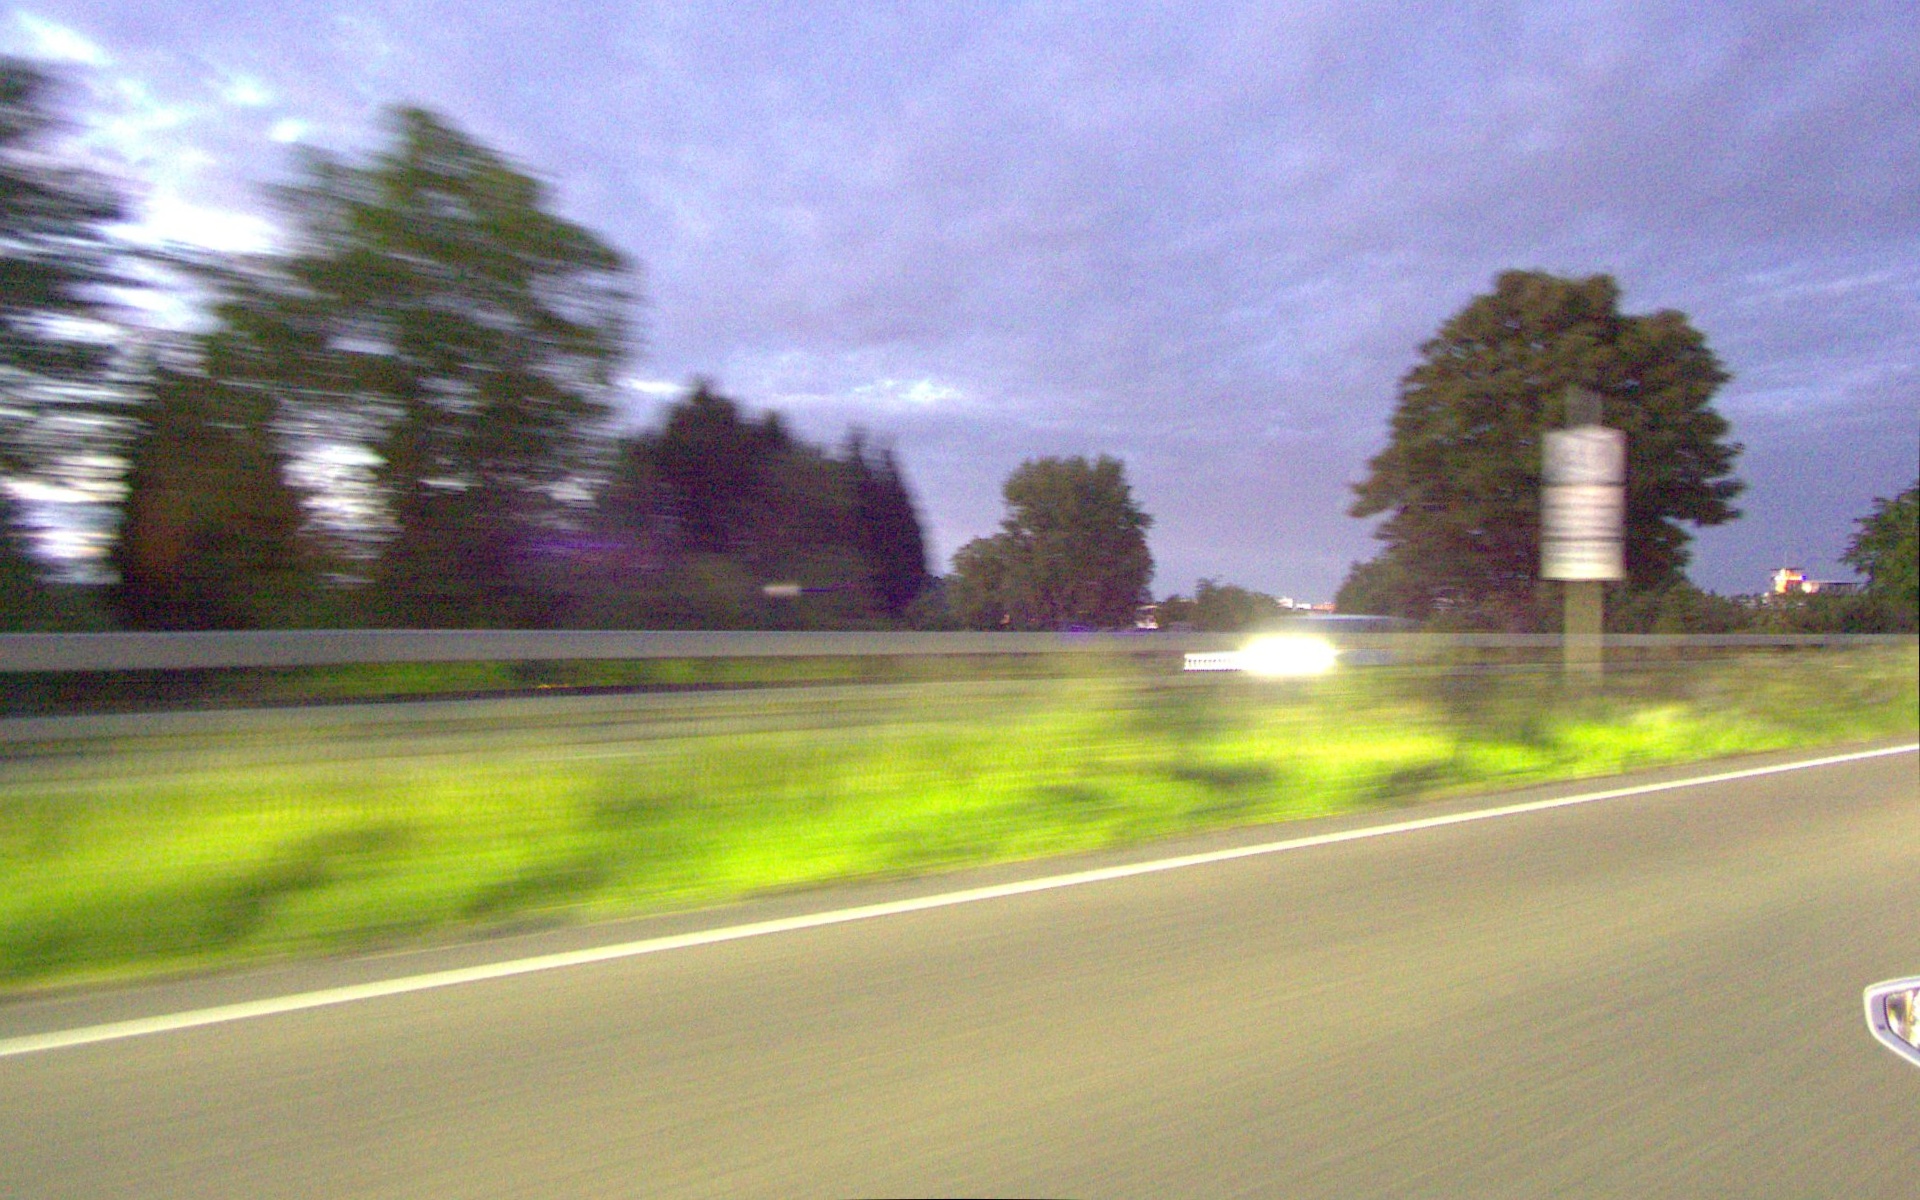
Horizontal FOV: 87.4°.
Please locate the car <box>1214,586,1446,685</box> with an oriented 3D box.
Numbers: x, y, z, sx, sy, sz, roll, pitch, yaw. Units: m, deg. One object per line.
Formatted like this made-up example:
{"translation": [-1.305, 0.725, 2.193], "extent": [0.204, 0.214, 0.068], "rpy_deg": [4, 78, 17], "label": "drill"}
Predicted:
{"translation": [6.439, 0.577, 17.378], "extent": [3.955, 1.525, 1.646], "rpy_deg": [1, 1, -32], "label": "car"}
